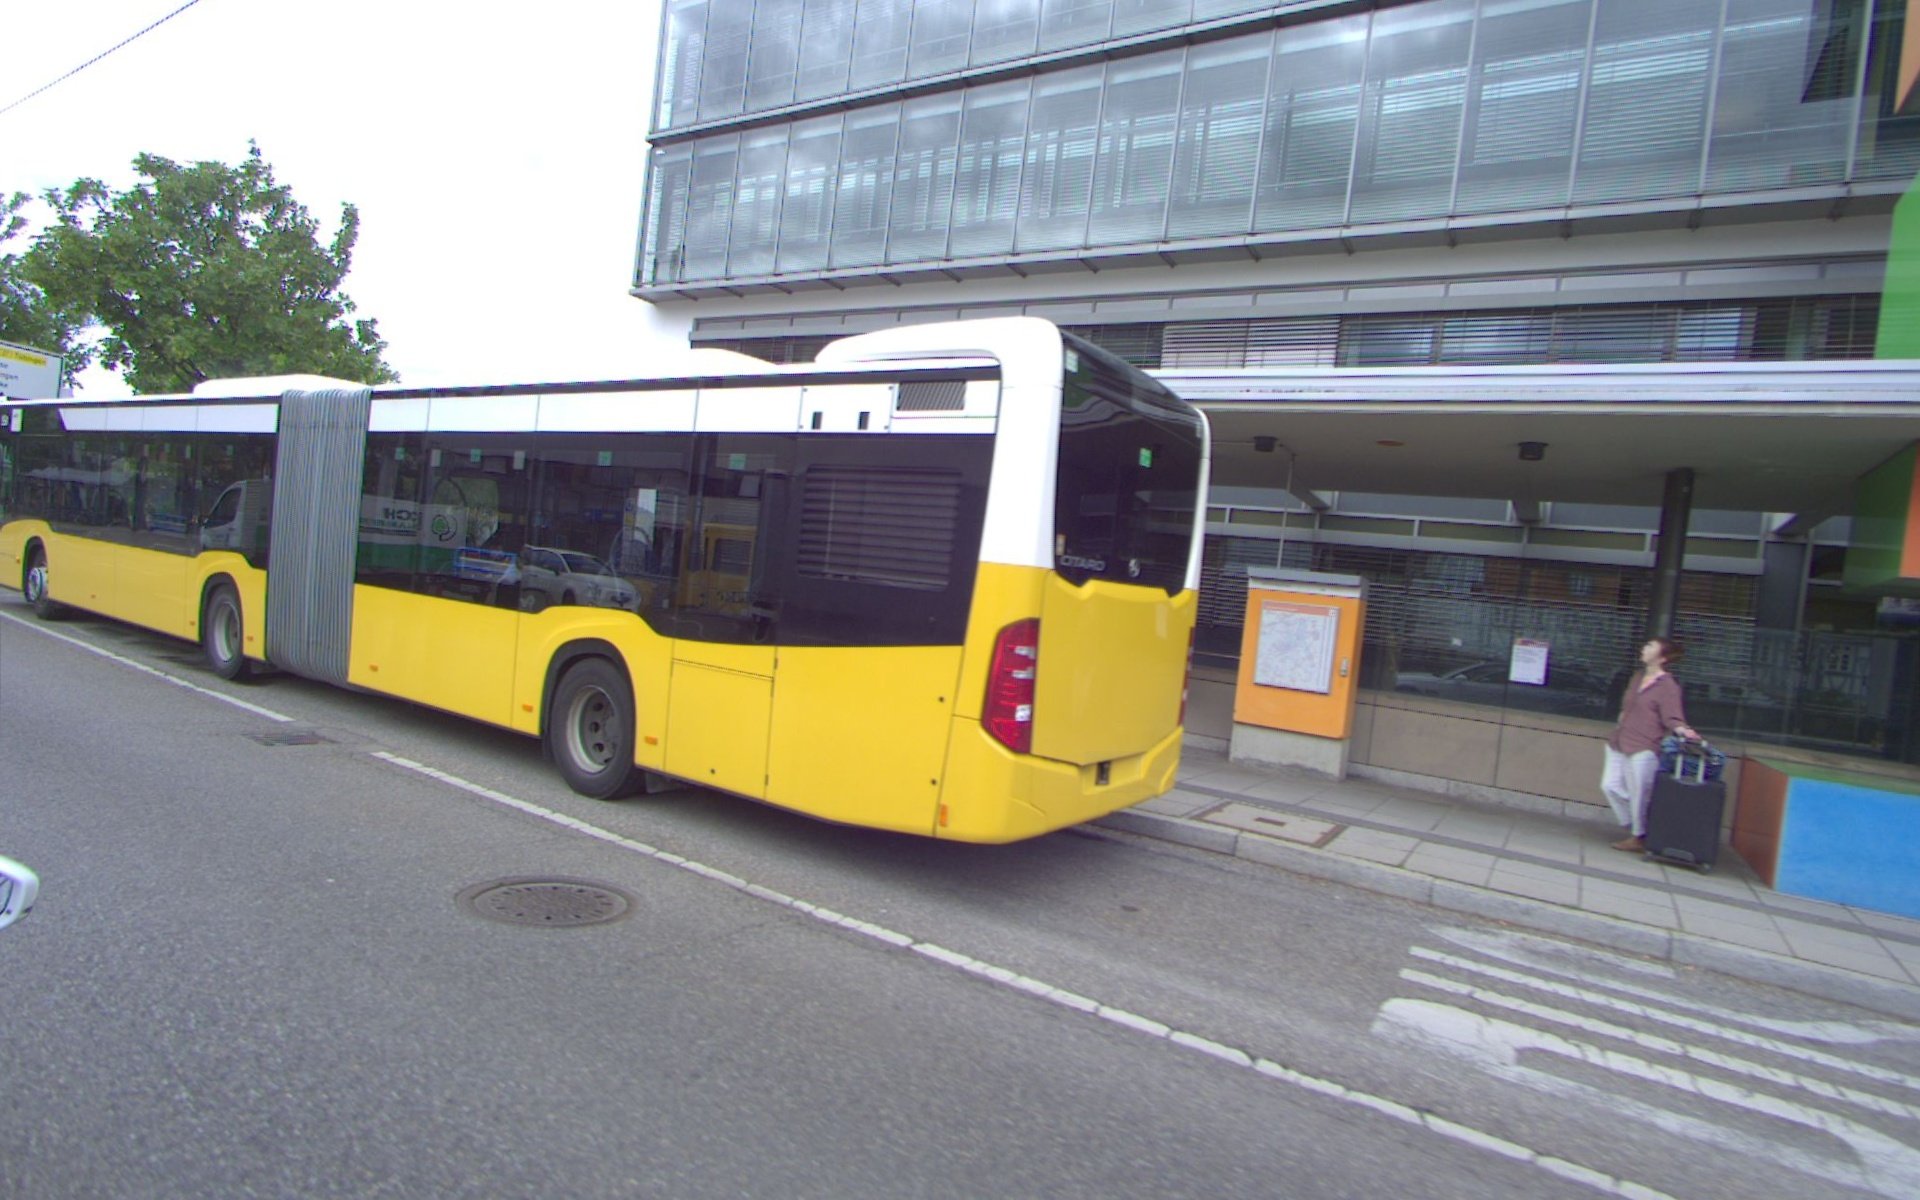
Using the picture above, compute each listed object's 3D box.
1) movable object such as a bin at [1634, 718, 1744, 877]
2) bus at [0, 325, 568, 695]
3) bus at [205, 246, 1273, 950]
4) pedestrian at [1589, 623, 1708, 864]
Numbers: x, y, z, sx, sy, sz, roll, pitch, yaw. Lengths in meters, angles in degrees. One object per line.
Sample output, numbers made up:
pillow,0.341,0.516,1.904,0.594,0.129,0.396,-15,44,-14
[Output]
movable object such as a bin,5.401,1.444,7.474,0.524,1.042,0.420,7,1,32
bus,-9.584,-1.137,13.080,9.706,3.277,2.988,6,-3,34
bus,-2.552,-0.315,8.468,9.187,3.277,3.036,6,1,33
pedestrian,5.378,1.092,7.890,0.563,1.757,0.508,7,1,31
